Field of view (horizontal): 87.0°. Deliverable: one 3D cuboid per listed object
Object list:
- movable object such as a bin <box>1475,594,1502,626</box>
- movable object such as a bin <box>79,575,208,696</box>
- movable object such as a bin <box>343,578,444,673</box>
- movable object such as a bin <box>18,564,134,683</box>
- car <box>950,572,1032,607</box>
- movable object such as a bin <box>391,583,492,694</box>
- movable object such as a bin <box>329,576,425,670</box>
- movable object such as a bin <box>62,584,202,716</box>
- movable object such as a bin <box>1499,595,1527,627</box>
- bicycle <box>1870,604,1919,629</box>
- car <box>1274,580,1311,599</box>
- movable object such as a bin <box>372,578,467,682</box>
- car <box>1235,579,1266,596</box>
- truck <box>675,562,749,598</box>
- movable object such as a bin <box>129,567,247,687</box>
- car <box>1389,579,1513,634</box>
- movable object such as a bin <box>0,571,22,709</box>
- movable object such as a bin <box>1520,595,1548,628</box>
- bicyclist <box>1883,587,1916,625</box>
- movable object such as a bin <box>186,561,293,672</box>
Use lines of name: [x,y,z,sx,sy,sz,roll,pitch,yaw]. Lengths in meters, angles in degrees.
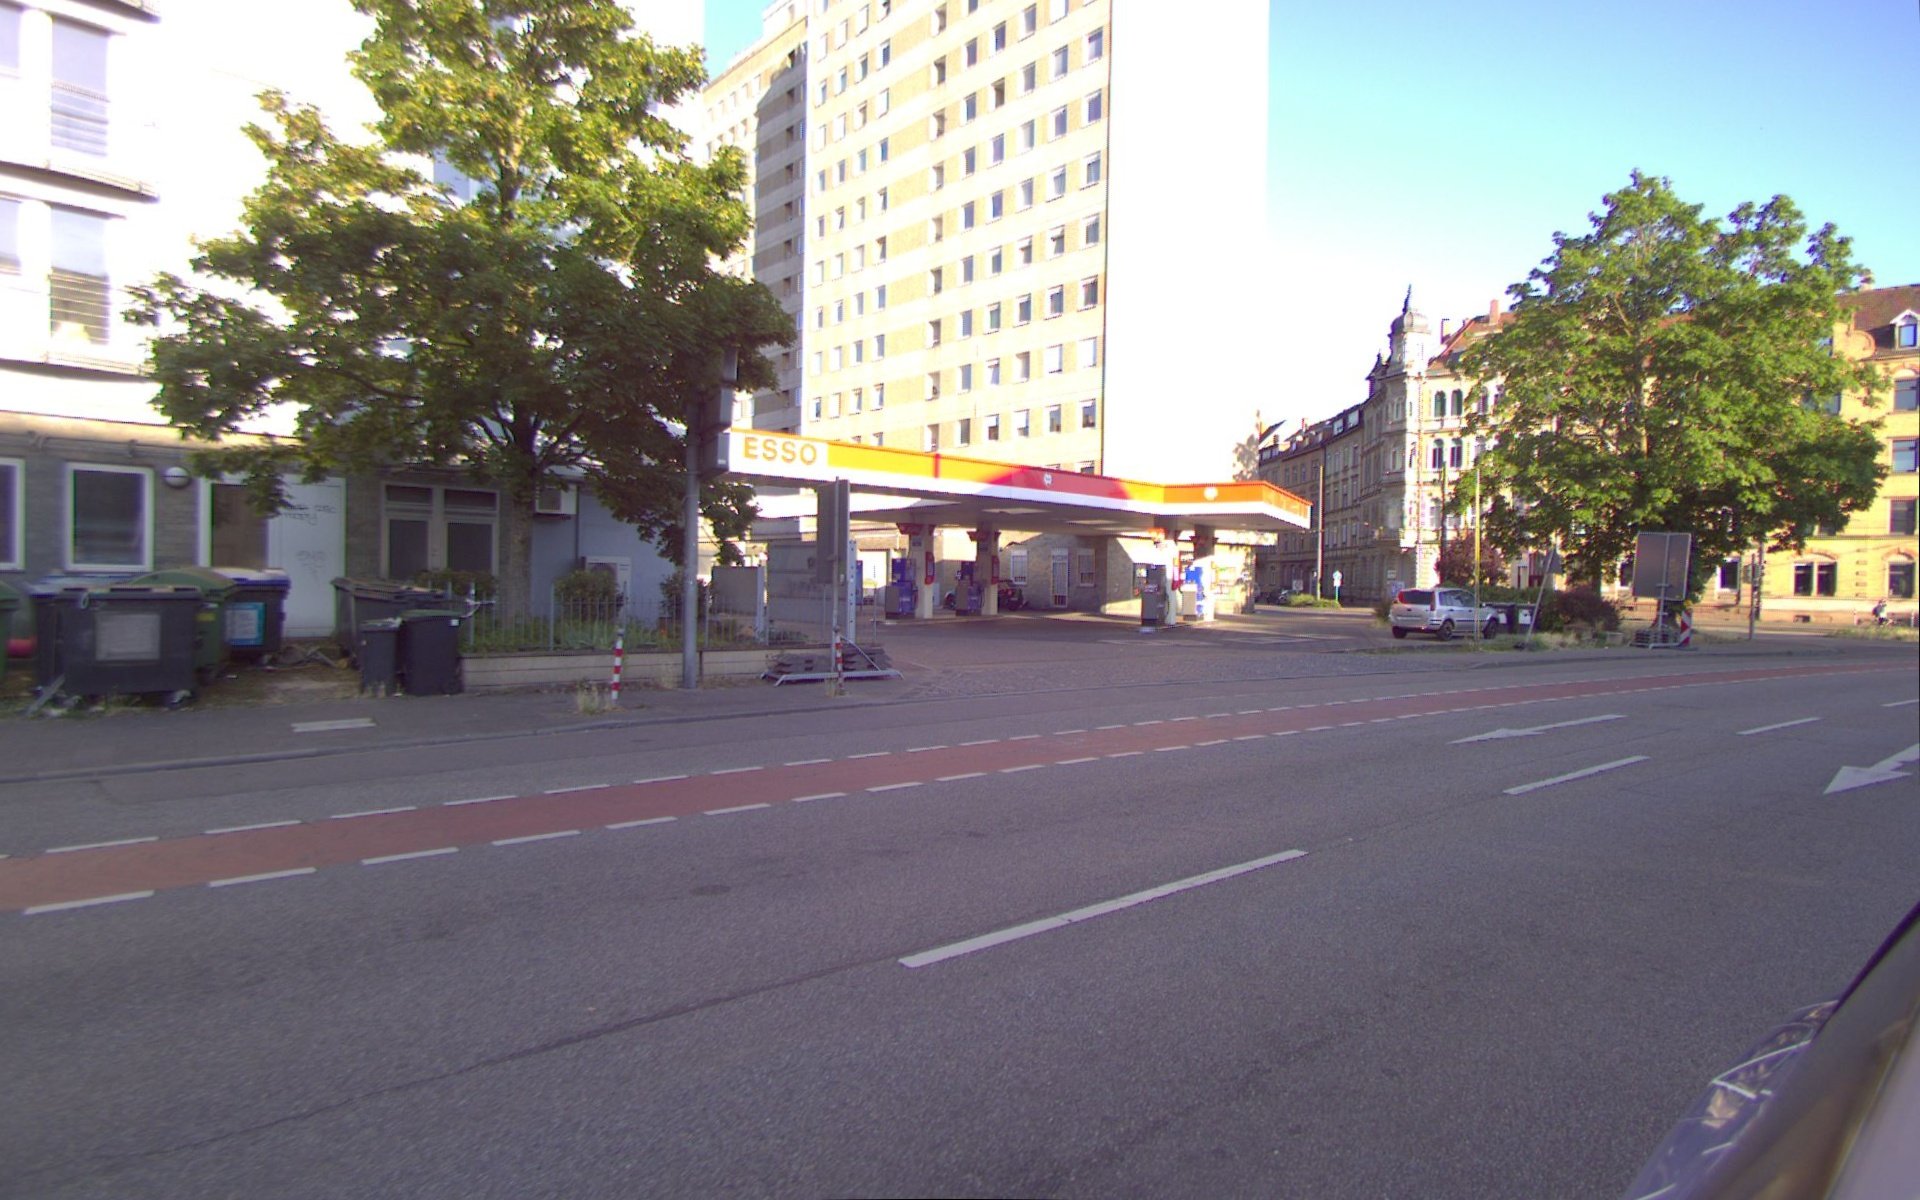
movable object such as a bin: [17.708,0.325,33.914,0.674,1.031,0.544,0,1,-35]
movable object such as a bin: [-9.723,0.387,12.059,1.142,1.345,0.954,0,1,-43]
movable object such as a bin: [-8.160,0.338,14.586,1.079,1.299,0.954,0,1,-43]
movable object such as a bin: [-11.922,0.285,13.658,1.142,1.517,1.033,0,1,-43]
car: [1.414,-0.511,47.625,1.739,1.536,3.790,0,2,-41]
movable object such as a bin: [-6.725,0.464,13.119,0.938,1.345,0.955,0,1,-42]
movable object such as a bin: [-8.828,0.318,15.327,1.079,1.345,0.954,0,1,-43]
movable object such as a bin: [-9.126,0.507,11.154,1.142,1.345,0.954,0,1,-43]
movable object such as a bin: [18.174,0.351,33.282,0.674,1.031,0.544,0,1,-35]
bicycle: [42.962,0.728,46.337,1.921,1.072,0.444,2,1,43]
car: [29.694,-0.952,90.489,1.963,1.552,4.000,1,1,1]
movable object such as a bin: [-7.396,0.382,13.834,0.938,1.345,0.955,0,1,-42]
car: [30.262,-1.343,105.455,1.962,1.707,4.001,1,1,-1]
truck: [-13.240,-1.073,54.144,3.430,1.852,1.780,0,1,-41]
movable object such as a bin: [-10.063,0.321,13.194,1.142,1.467,1.033,0,1,-43]
car: [14.802,0.158,30.472,3.722,1.535,1.691,-1,2,-33]
movable object such as a bin: [-10.795,0.409,10.833,1.088,1.441,1.349,0,1,-44]
movable object such as a bin: [18.490,0.366,32.601,0.674,1.031,0.544,0,1,-35]
bicyclist: [43.043,0.266,46.377,1.062,1.669,0.721,2,1,43]
movable object such as a bin: [-10.367,0.204,14.555,1.142,1.517,1.033,0,1,-43]
